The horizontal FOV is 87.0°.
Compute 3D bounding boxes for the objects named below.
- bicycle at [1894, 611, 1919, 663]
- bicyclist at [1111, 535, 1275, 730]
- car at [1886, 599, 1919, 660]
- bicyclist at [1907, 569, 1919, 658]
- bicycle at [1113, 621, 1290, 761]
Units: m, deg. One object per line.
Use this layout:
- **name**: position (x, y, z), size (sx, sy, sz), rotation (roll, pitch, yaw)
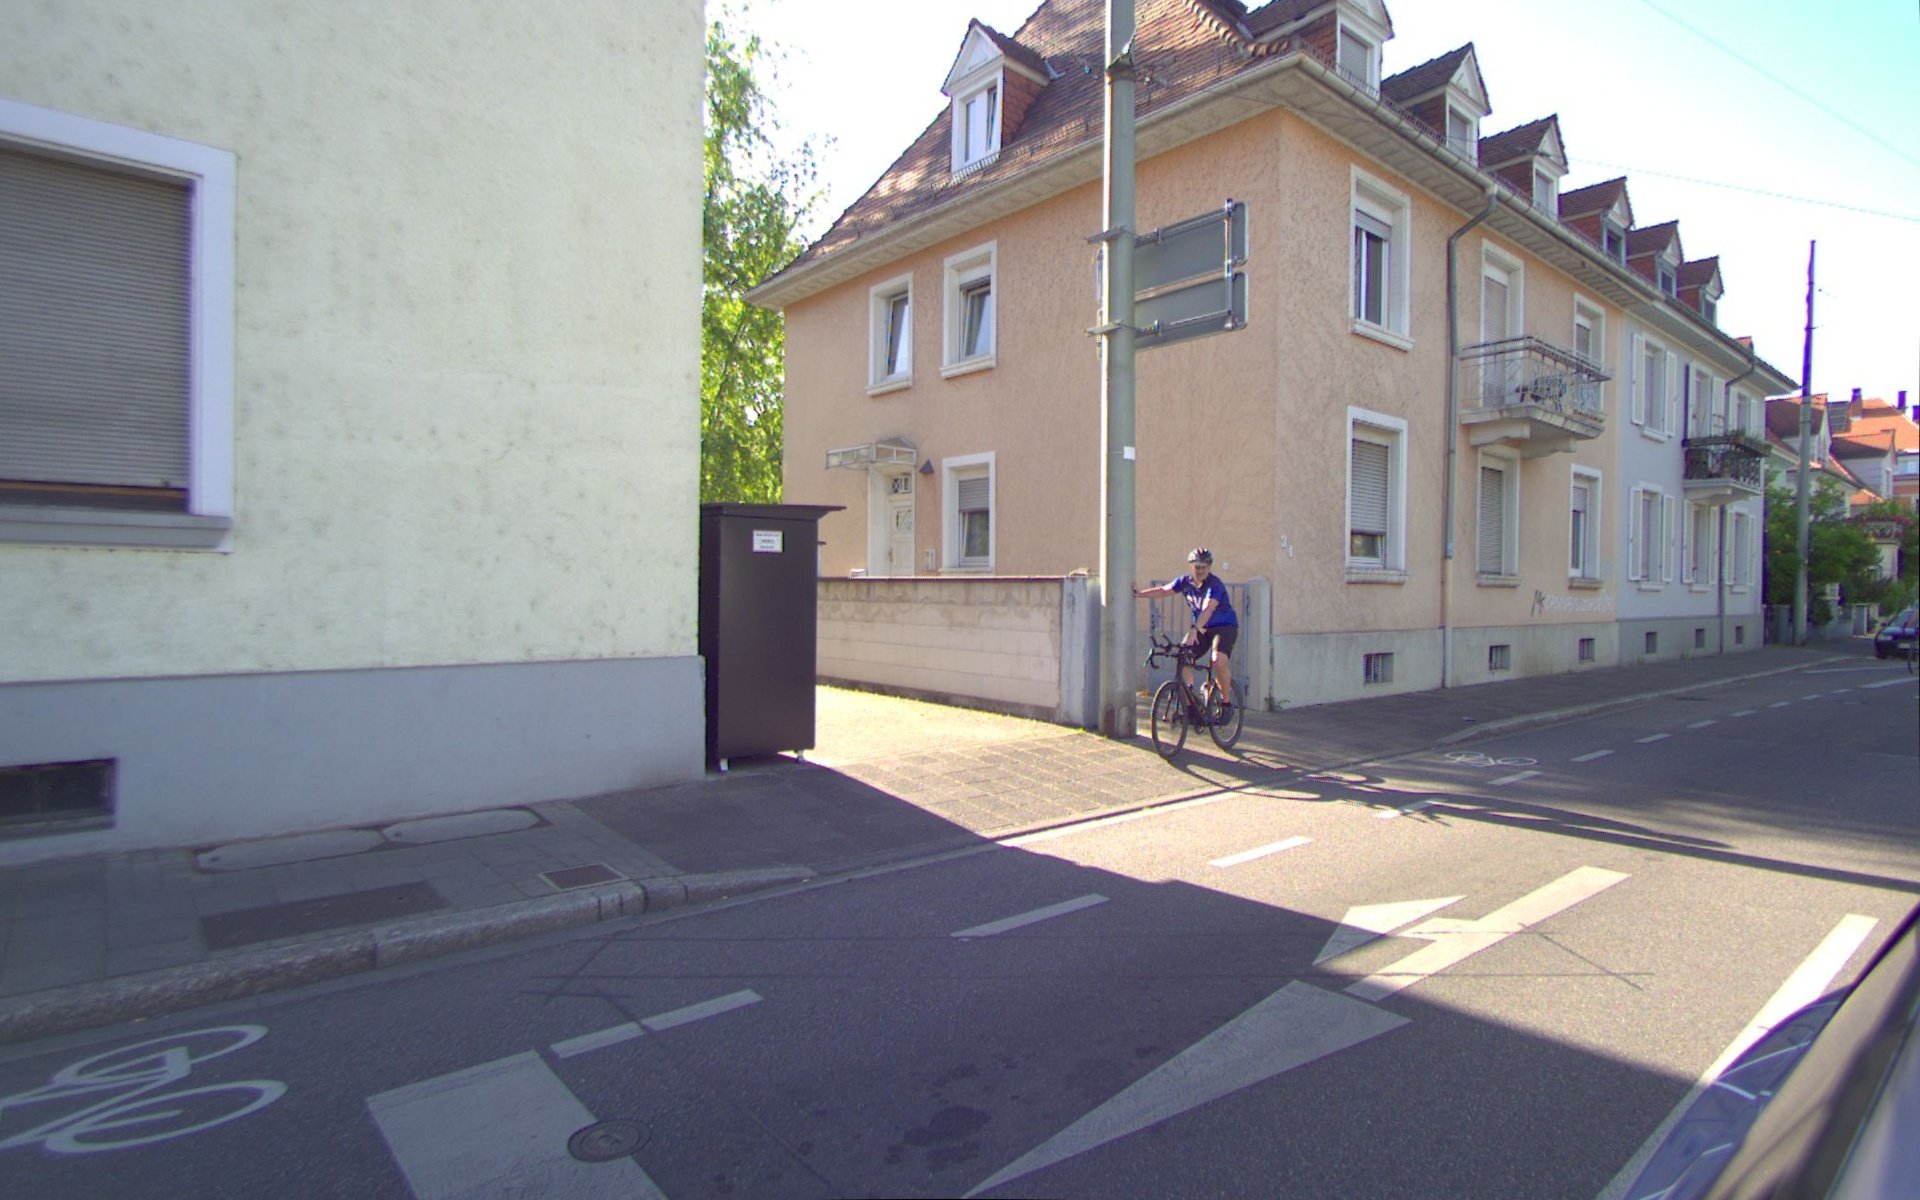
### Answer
- **bicycle**: position (21.522, 0.841, 22.342), size (1.758, 1.105, 0.521), rotation (3, -1, -19)
- **bicyclist**: position (2.151, 0.261, 9.393), size (0.870, 1.627, 1.052), rotation (1, 5, -41)
- **car**: position (26.685, 0.757, 27.373), size (3.742, 1.601, 1.696), rotation (0, -1, -36)
- **bicyclist**: position (21.540, 0.325, 22.345), size (0.926, 1.959, 0.521), rotation (3, -1, -19)
- **bicycle**: position (2.230, 0.776, 9.222), size (1.744, 1.081, 0.592), rotation (0, 5, -41)
